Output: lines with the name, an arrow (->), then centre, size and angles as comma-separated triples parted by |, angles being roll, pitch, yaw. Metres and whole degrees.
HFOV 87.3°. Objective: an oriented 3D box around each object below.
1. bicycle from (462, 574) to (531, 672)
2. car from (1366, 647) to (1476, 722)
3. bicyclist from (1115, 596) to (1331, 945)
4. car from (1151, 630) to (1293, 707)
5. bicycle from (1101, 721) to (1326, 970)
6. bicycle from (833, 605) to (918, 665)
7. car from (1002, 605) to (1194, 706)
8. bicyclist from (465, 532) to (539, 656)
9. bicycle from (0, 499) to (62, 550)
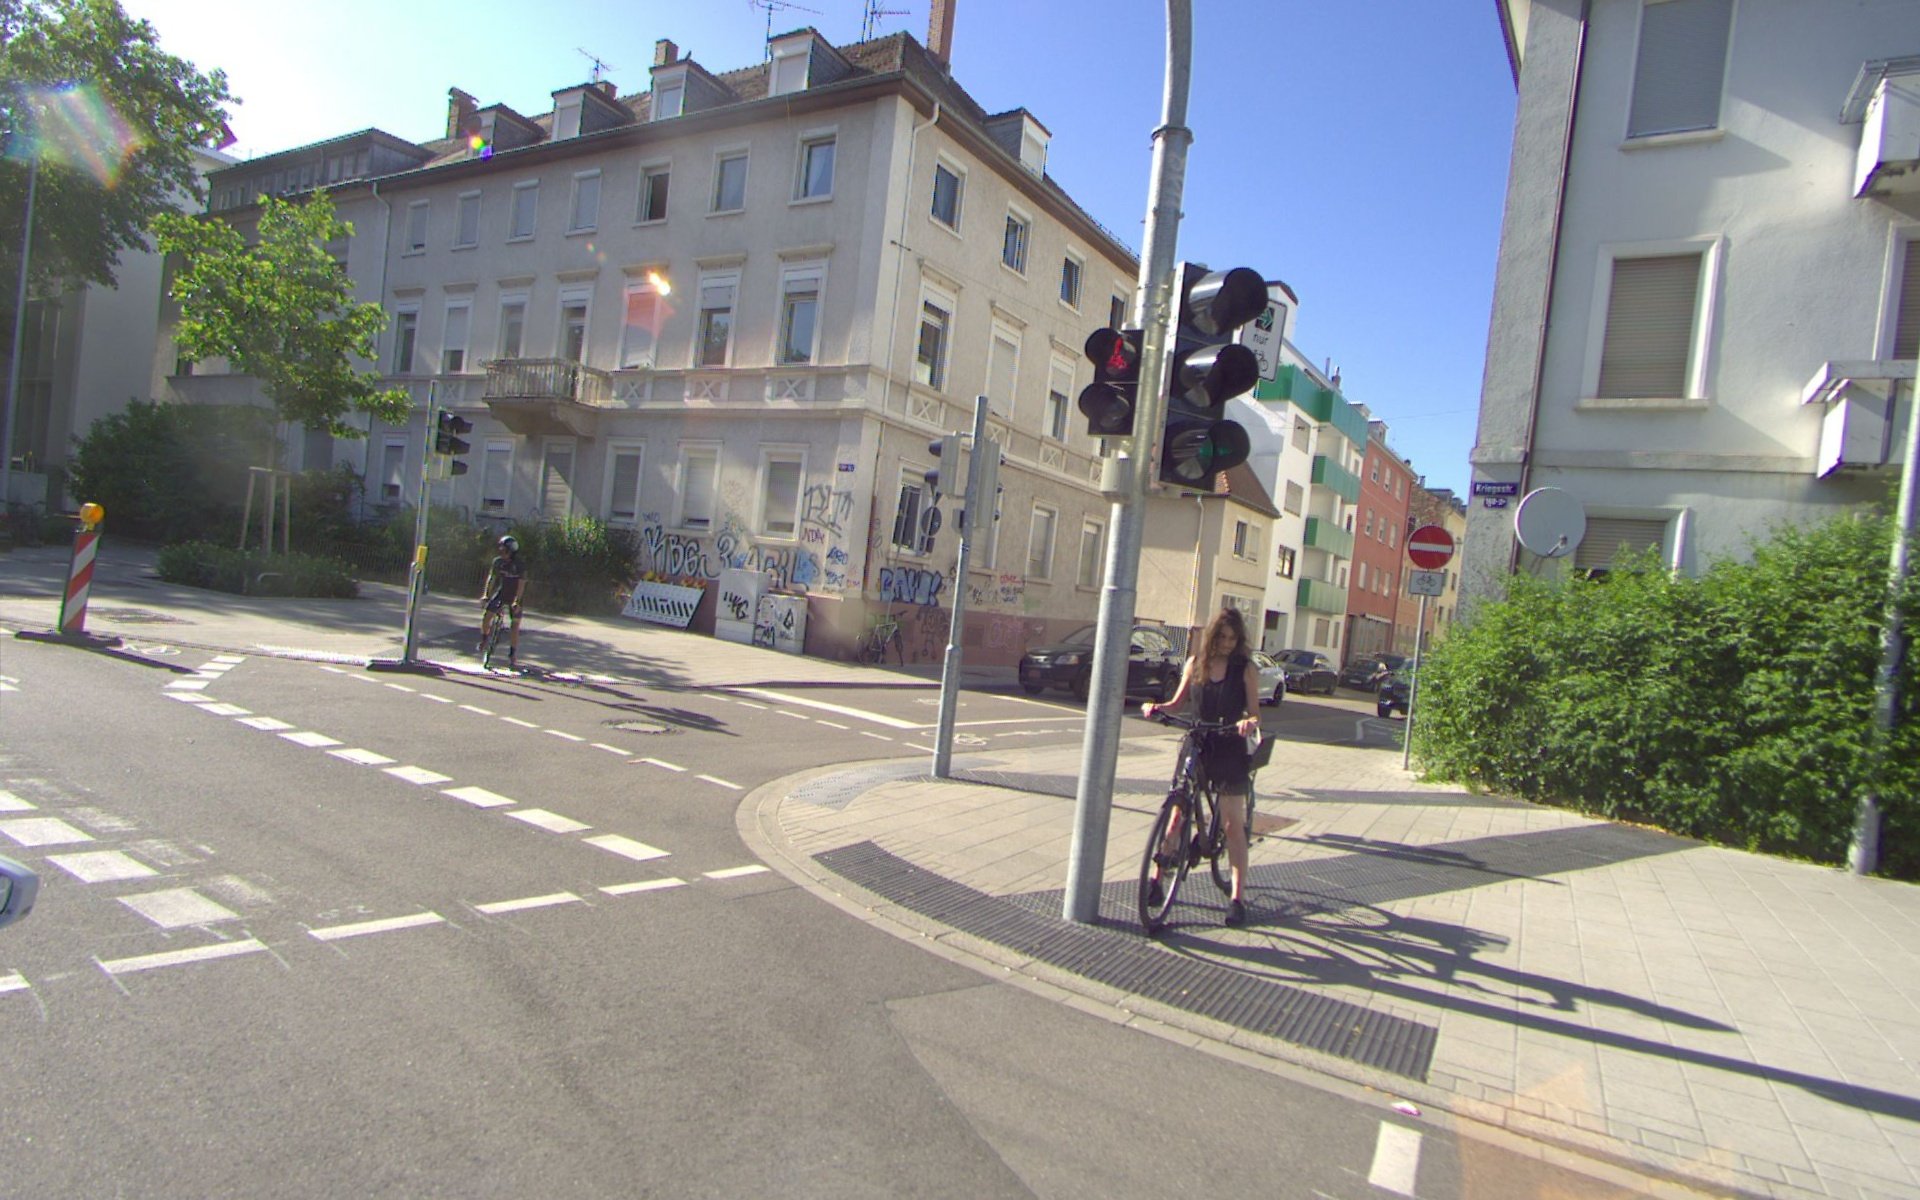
bicycle -> -6.126, 0.273, 13.333 | 0.682, 1.112, 1.676 | 6, 1, -24
car -> 13.207, 2.414, 28.719 | 1.969, 1.734, 3.988 | 7, 0, 36
bicyclist -> 1.483, 0.905, 5.670 | 0.844, 1.730, 0.604 | 8, 1, 31
car -> 6.708, 1.766, 25.501 | 1.969, 1.584, 4.112 | 7, 0, 36
bicycle -> 1.513, 1.267, 5.697 | 0.594, 1.037, 1.966 | 8, -1, 30
bicycle -> -1.749, 0.755, 21.123 | 0.569, 1.093, 1.998 | 7, 0, 33
car -> 2.903, 1.184, 20.348 | 1.954, 1.638, 4.251 | 7, -1, 36
bicyclist -> -6.033, -0.092, 13.271 | 0.717, 1.518, 0.866 | 6, 1, -25
bicycle -> -20.761, -1.669, 22.281 | 0.581, 1.017, 2.119 | 7, 0, -24
